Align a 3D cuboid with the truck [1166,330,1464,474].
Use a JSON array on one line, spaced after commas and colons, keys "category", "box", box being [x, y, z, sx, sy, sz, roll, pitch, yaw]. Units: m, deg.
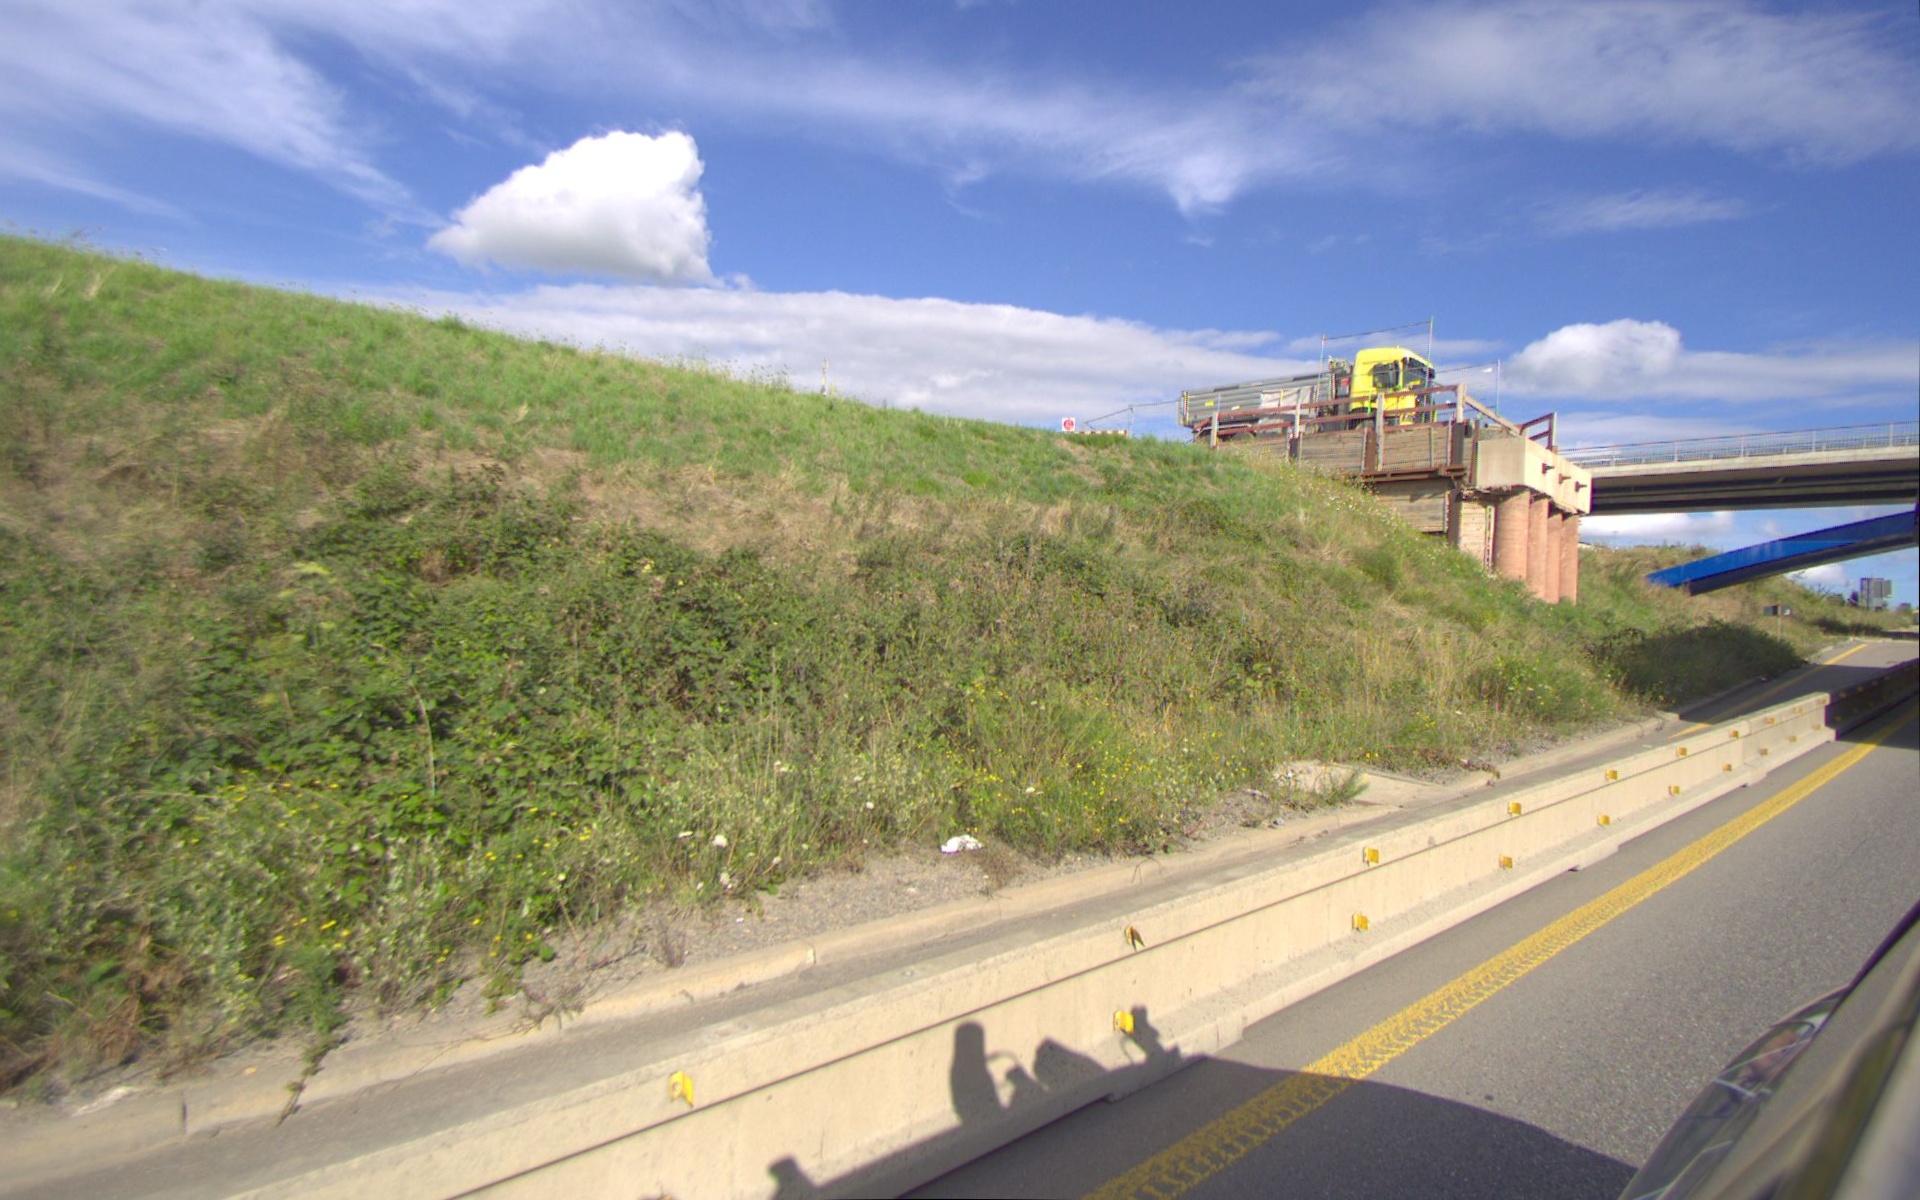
[{"category": "truck", "box": [11.719, -6.419, 34.368, 2.910, 3.268, 9.272, 1, 0, -43]}]
